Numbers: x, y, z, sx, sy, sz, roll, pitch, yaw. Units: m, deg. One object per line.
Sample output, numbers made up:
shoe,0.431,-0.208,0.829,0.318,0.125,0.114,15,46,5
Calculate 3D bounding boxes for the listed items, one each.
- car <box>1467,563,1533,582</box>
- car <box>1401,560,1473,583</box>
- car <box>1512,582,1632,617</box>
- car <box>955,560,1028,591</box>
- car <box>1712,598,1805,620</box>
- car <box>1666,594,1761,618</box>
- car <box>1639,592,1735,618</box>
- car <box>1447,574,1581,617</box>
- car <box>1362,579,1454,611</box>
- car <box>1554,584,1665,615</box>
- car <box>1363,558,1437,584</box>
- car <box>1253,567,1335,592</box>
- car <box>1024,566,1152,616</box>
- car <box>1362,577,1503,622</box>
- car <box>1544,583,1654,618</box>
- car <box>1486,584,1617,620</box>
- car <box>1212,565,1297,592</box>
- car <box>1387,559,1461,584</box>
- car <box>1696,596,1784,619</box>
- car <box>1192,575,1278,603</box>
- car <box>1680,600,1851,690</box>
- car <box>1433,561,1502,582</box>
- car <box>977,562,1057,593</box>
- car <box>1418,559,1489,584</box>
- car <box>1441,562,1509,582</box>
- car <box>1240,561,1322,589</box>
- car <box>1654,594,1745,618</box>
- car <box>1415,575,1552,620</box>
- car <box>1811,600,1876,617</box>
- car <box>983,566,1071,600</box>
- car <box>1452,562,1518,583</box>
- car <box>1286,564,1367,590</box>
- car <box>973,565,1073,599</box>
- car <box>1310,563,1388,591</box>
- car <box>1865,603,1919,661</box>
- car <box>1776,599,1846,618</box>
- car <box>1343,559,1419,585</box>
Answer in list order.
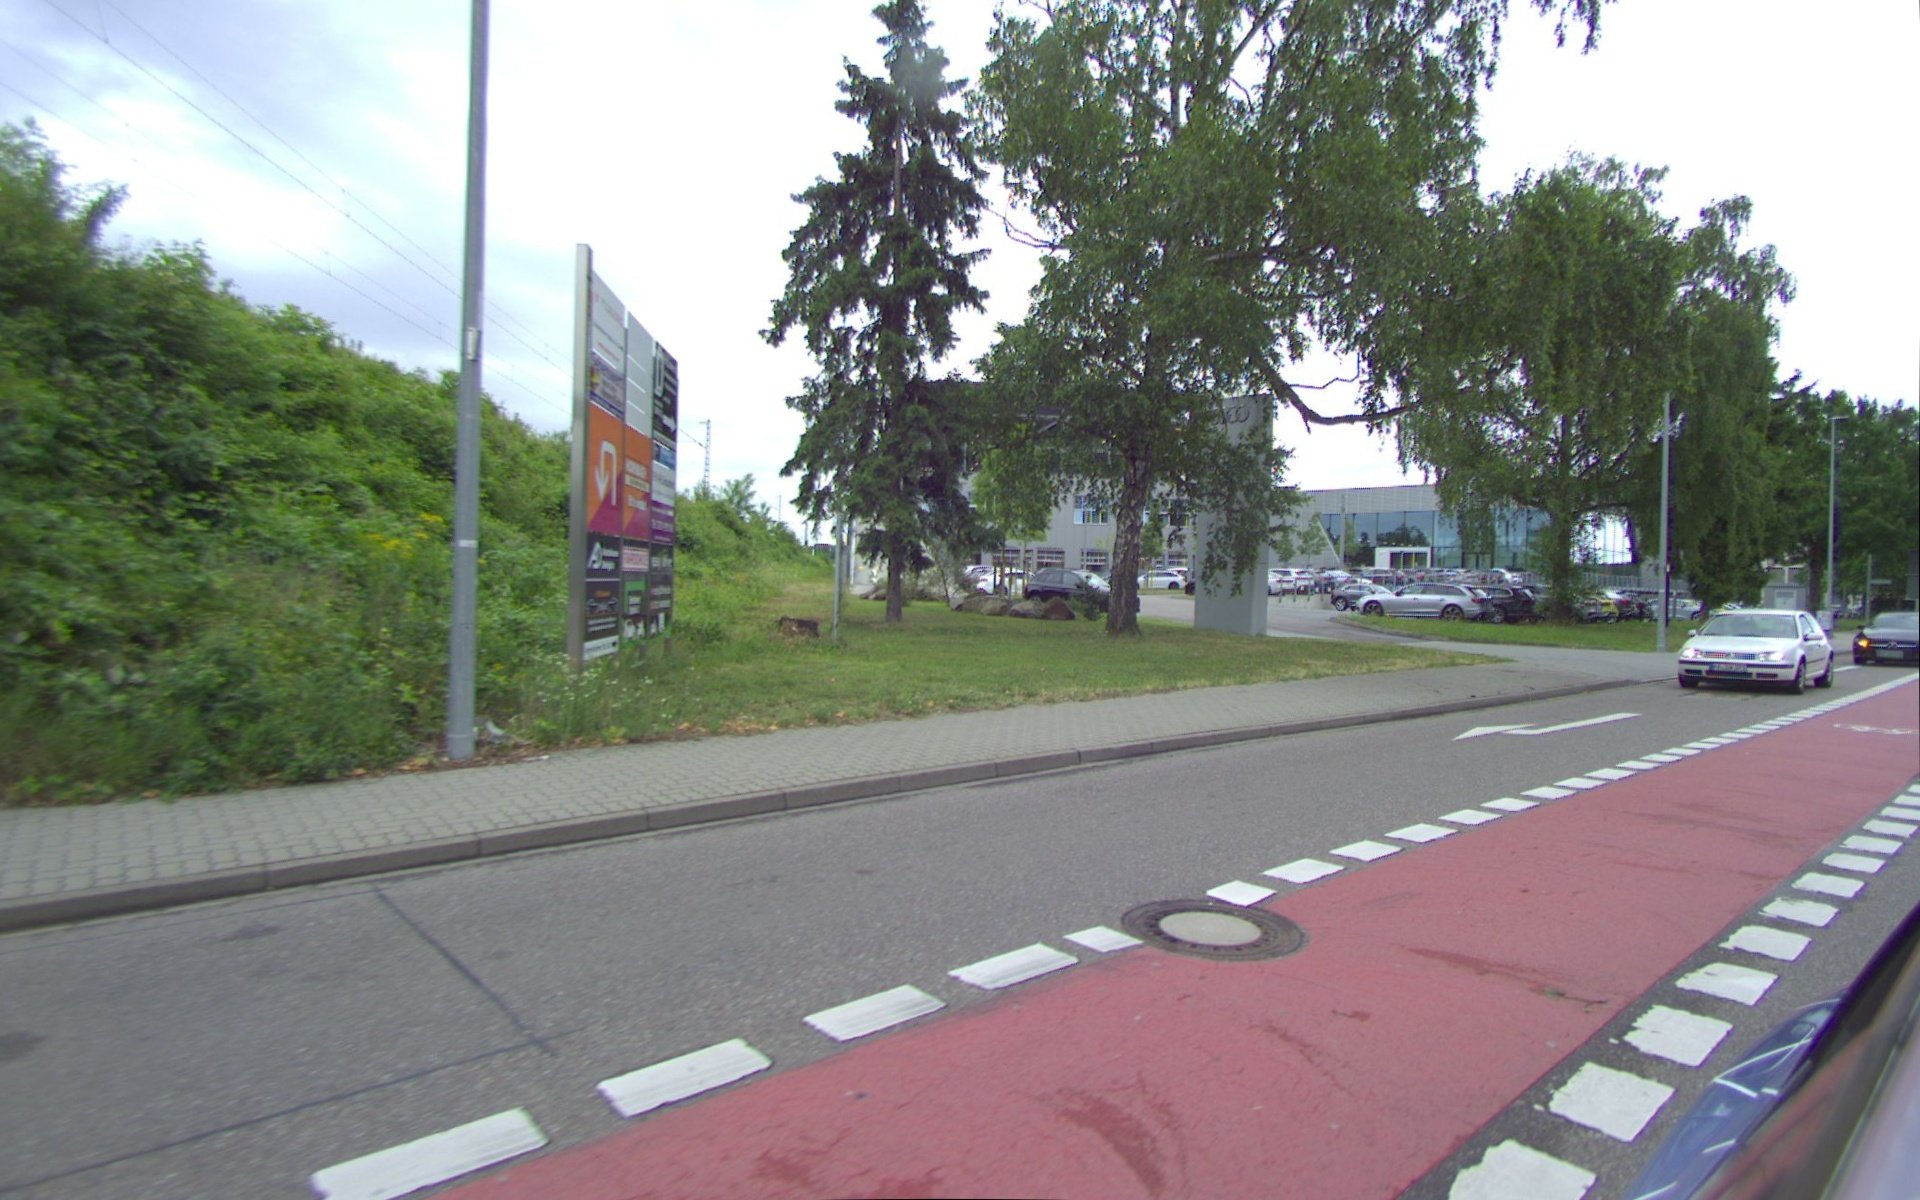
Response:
car,43.388,-2.186,81.407,1.801,1.381,4.302,1,-2,-42
car,33.988,-1.991,72.225,1.833,1.451,4.302,1,-2,-42
car,26.166,0.009,43.374,1.777,1.397,4.004,1,-2,-38
car,1.910,-1.476,61.972,4.224,1.828,1.971,0,-1,-6
car,54.860,0.610,69.573,1.869,1.442,4.759,1,-2,-40
car,45.461,0.400,61.108,1.708,1.375,4.304,1,-2,-40
car,41.814,0.299,58.280,1.708,1.450,4.195,1,-2,-40
car,22.164,-0.133,40.600,1.934,1.622,4.306,1,-2,-39
car,25.132,-0.312,56.859,1.869,1.647,4.305,3,-1,-41
car,30.196,0.015,47.135,1.868,1.371,4.000,1,-2,-39
car,30.085,-1.940,69.255,1.801,1.545,4.302,1,-2,-42
car,19.884,-1.199,60.345,1.801,1.263,4.302,1,-2,-42
car,4.576,-0.359,36.602,4.299,1.608,1.938,4,3,44
car,16.975,-0.047,36.517,4.298,1.508,1.712,1,0,44
car,28.419,0.052,45.106,1.919,1.442,3.756,1,-2,-41
car,24.424,0.119,41.902,1.868,1.400,4.306,1,-2,-39
car,16.564,-1.181,57.124,1.801,1.307,4.302,1,-2,-42
car,32.284,-1.954,70.521,1.801,1.531,4.302,1,-2,-42
car,51.083,0.504,66.326,1.811,1.463,4.304,1,-2,-40
car,15.056,-0.558,55.545,1.801,1.391,4.302,1,-2,-42
car,14.609,0.746,18.290,3.871,1.442,1.725,1,0,-41
car,37.917,-2.101,75.669,1.801,1.381,4.302,1,-2,-42
car,3.222,-1.245,57.402,4.224,1.683,1.971,0,-1,-6
car,36.001,-2.030,73.916,1.861,1.612,4.306,1,-2,-39
car,39.602,-2.120,77.843,1.801,1.381,4.302,1,-2,-42
car,18.663,-1.433,58.933,1.671,1.400,4.302,1,-2,-42
car,43.654,0.384,59.787,1.763,1.395,4.053,1,-2,-40
car,20.081,-0.035,38.942,1.936,1.622,4.302,1,-2,-42
car,77.244,0.772,88.508,1.697,1.410,4.037,1,-2,-40
car,3.432,-0.844,52.257,4.224,1.674,1.971,0,-1,-6
car,41.296,-2.150,79.653,1.801,1.381,4.302,1,-2,-42
car,22.112,-1.344,61.189,1.801,1.389,4.302,1,-2,-42
car,3.075,-0.872,49.762,4.579,1.587,1.907,0,-1,-8
car,24.547,-1.417,63.973,1.801,1.554,4.302,1,-2,-42
car,25.767,0.839,27.084,3.930,1.442,1.835,1,0,-41
car,67.580,0.682,80.413,1.697,1.410,4.037,1,-2,-40
car,28.010,-1.845,67.369,1.827,1.547,4.302,1,-2,-42
